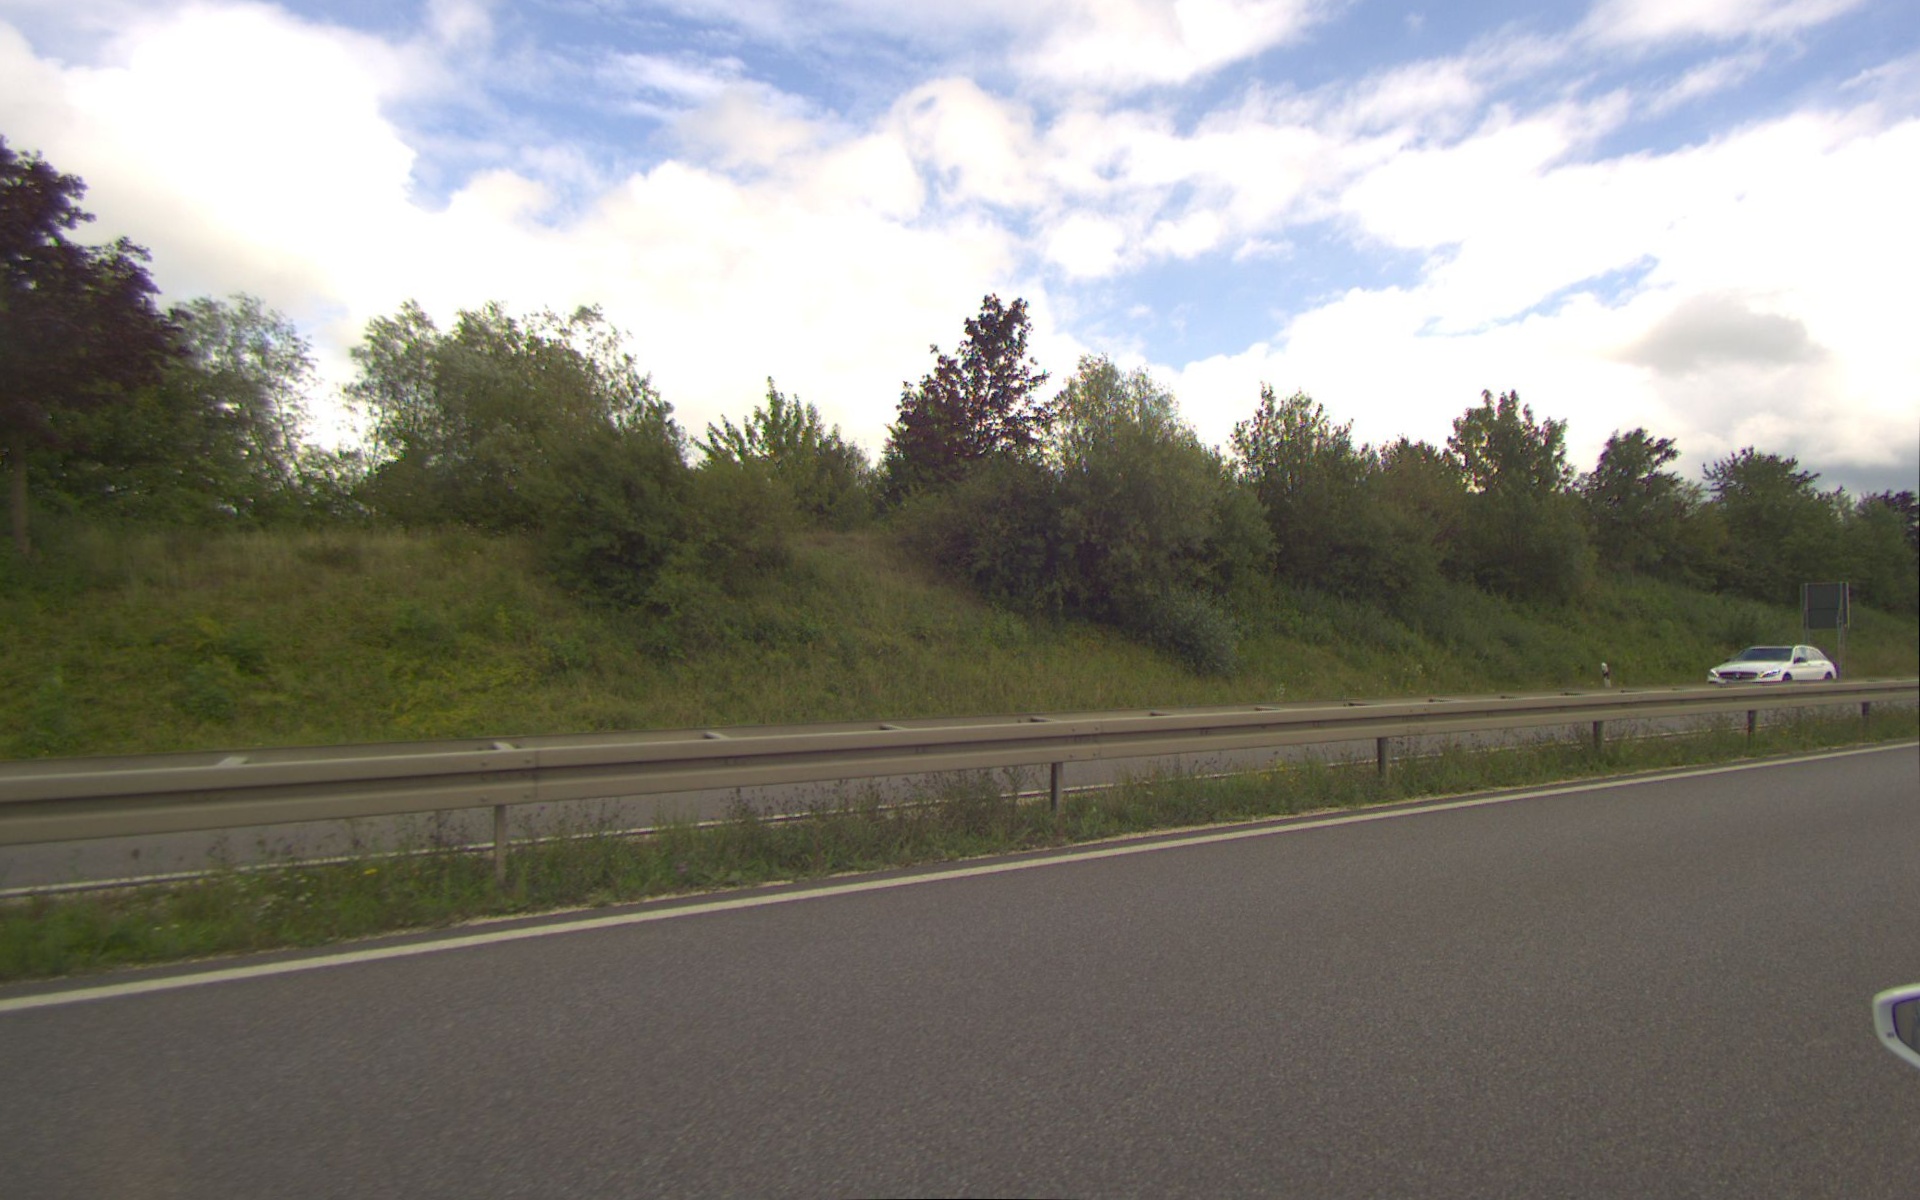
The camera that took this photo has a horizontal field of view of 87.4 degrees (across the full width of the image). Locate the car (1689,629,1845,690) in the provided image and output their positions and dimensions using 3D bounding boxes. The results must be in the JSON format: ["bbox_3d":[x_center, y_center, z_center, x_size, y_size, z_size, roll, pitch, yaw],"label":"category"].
[{"bbox_3d":[23.532,1.675,29.252,4.931,1.538,1.984,-1,-1,-31],"label":"car"}]
